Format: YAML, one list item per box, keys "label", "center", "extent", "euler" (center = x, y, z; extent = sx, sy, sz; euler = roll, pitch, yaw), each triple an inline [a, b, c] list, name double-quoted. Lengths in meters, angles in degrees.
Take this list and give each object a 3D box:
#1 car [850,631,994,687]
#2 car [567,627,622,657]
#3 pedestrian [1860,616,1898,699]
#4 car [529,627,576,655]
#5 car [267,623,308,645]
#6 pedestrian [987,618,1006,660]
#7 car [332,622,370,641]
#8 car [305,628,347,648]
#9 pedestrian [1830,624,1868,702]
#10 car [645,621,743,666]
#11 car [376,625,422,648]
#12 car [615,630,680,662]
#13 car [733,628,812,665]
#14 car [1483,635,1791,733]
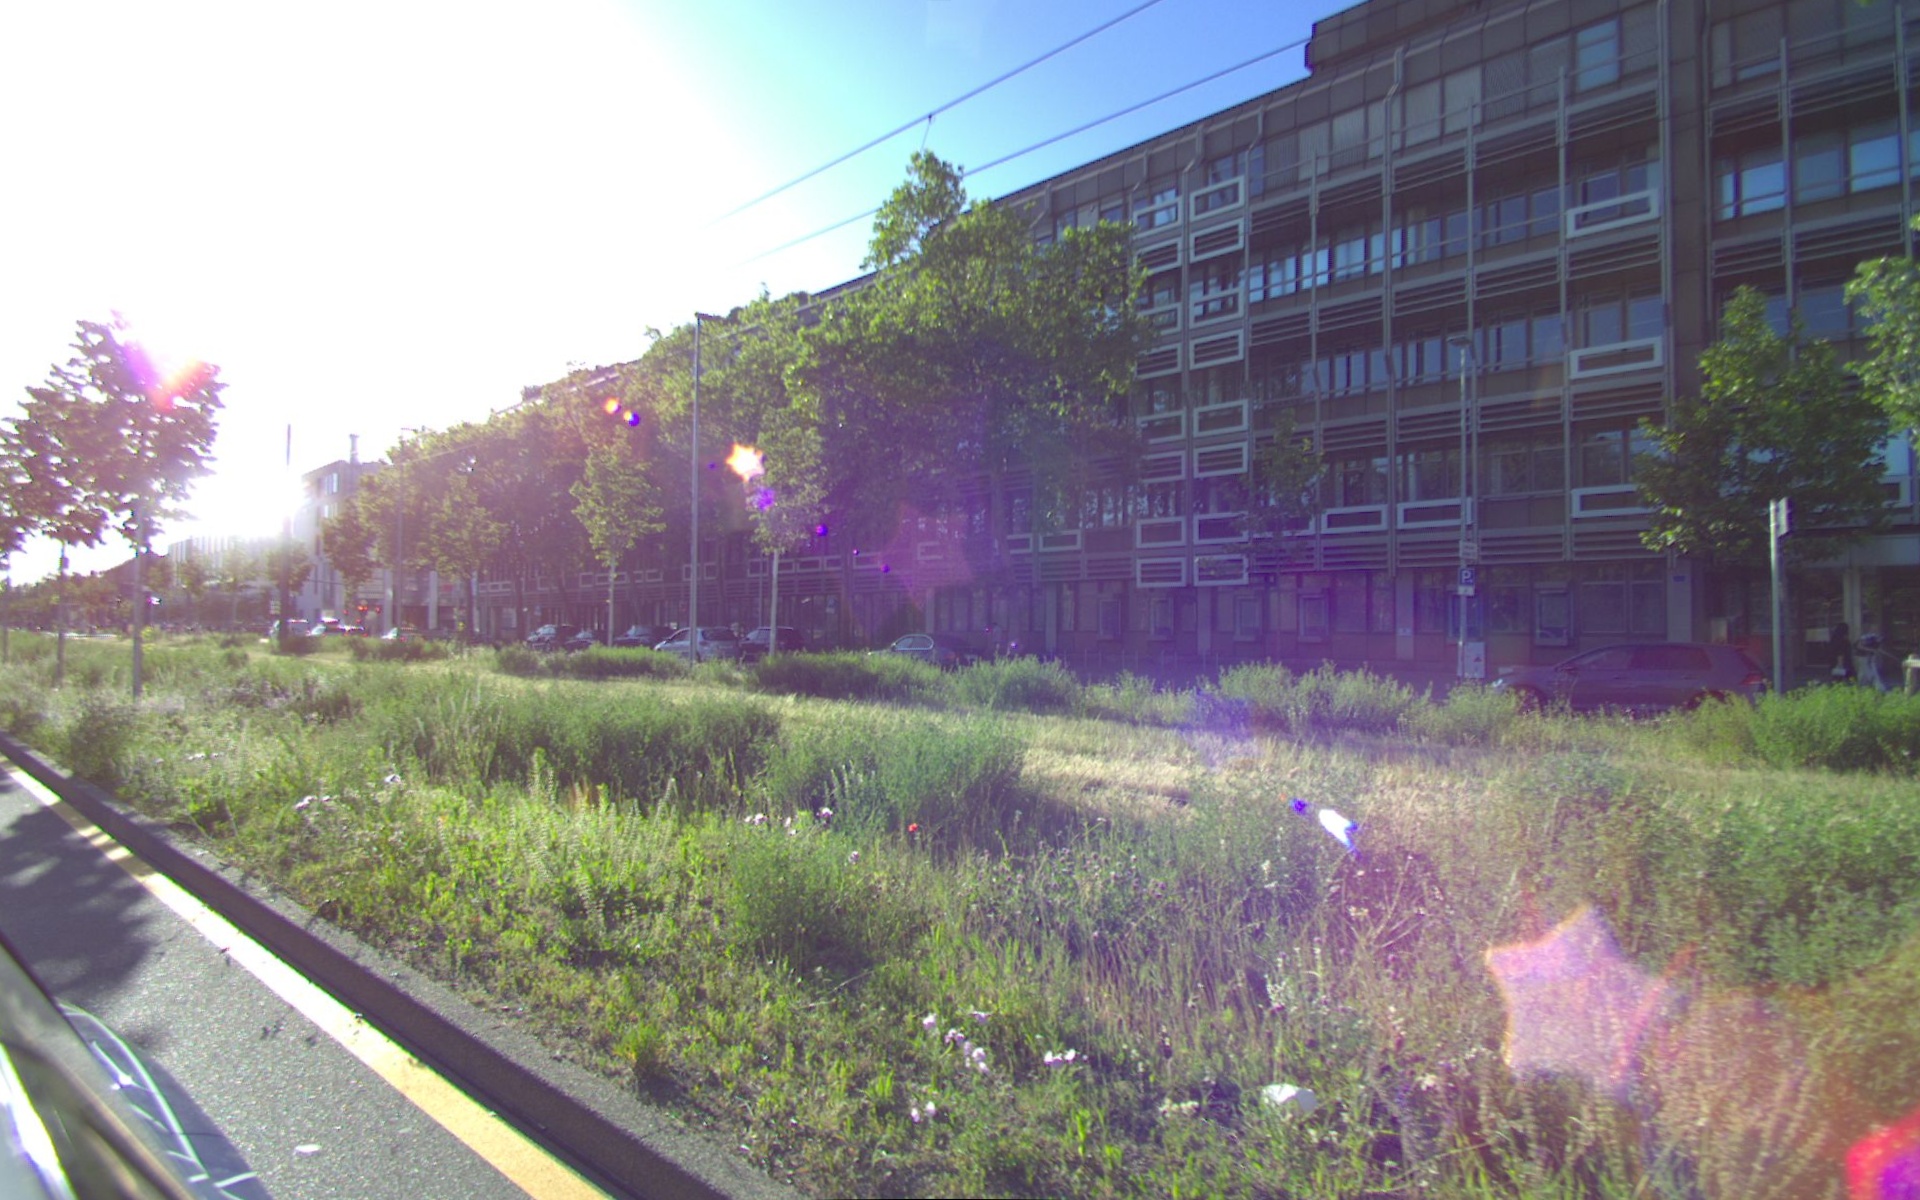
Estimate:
- label: "car"
  center: [-1.177, 1.668, 29.660]
  extent: [4.417, 1.507, 1.609]
  euler: [-1, -3, 44]
- label: "car"
  center: [-21.099, 2.400, 58.337]
  extent: [3.526, 1.614, 1.491]
  euler: [-1, 0, 41]
- label: "pedestrian"
  center: [19.482, 1.212, 21.459]
  extent: [0.514, 1.735, 0.536]
  euler: [2, -3, -45]
- label: "car"
  center: [-25.112, 2.517, 62.376]
  extent: [3.265, 1.614, 1.372]
  euler: [-1, 0, 41]
- label: "car"
  center: [-51.550, 2.590, 77.562]
  extent: [3.780, 1.694, 1.840]
  euler: [-1, -3, 44]
- label: "pedestrian"
  center: [1.573, 1.684, 43.797]
  extent: [0.639, 1.763, 0.477]
  euler: [-1, -3, 44]
- label: "car"
  center: [-46.463, 2.416, 77.203]
  extent: [3.780, 1.390, 1.534]
  euler: [-1, -3, 44]
- label: "car"
  center: [-43.631, 2.603, 69.620]
  extent: [3.780, 1.390, 1.534]
  euler: [-1, -3, 44]
- label: "pedestrian"
  center: [18.500, 1.295, 21.054]
  extent: [0.514, 1.590, 0.536]
  euler: [2, -3, -45]
- label: "car"
  center: [-9.454, 1.503, 35.810]
  extent: [3.780, 1.507, 1.609]
  euler: [-1, -3, 44]
- label: "car"
  center: [-37.332, 2.401, 67.344]
  extent: [3.780, 1.507, 1.609]
  euler: [-1, -3, 44]
- label: "car"
  center: [-16.893, 2.464, 54.702]
  extent: [3.630, 1.614, 1.704]
  euler: [-1, 0, 41]
- label: "car"
  center: [-8.658, 2.111, 46.560]
  extent: [3.630, 1.555, 1.704]
  euler: [-1, 0, 41]
- label: "car"
  center: [11.181, 1.307, 16.888]
  extent: [4.040, 1.398, 1.697]
  euler: [-1, -2, 44]
